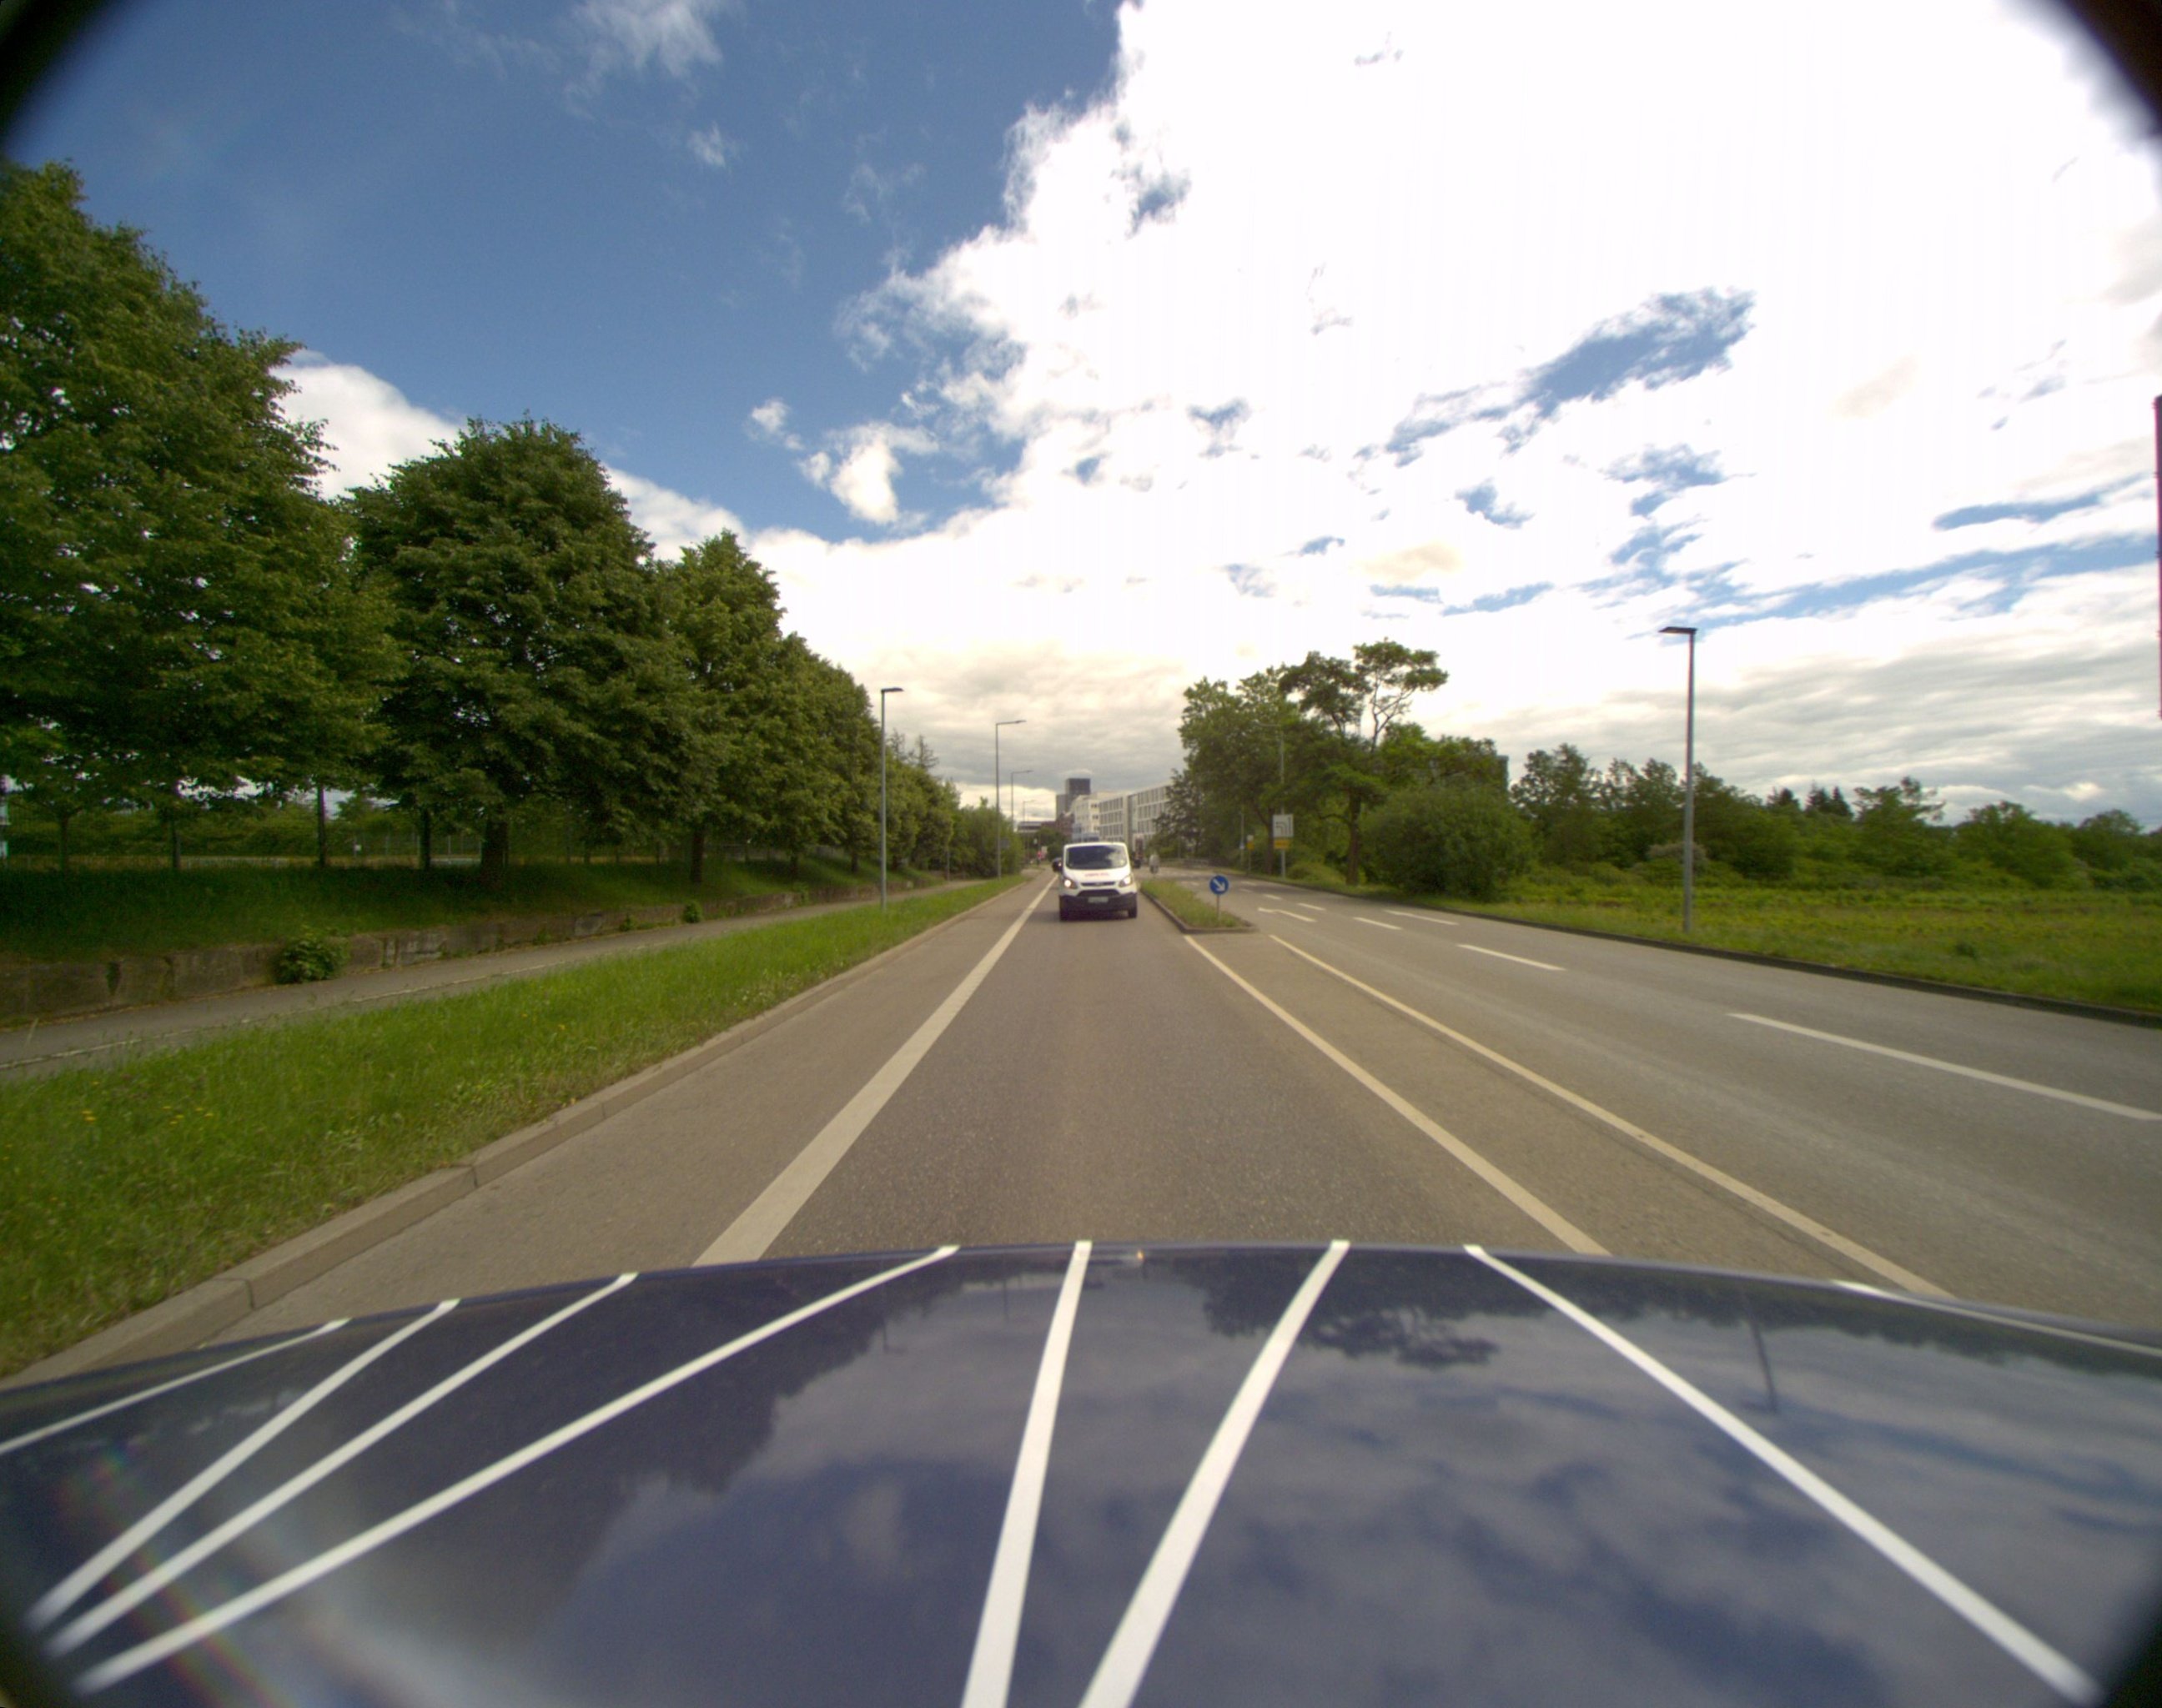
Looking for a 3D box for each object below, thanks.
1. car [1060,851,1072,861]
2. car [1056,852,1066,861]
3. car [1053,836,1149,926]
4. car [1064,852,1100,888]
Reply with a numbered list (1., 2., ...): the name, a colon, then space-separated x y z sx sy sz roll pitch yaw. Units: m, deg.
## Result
1. car: -2.805 0.352 141.486 1.873 1.685 4.369 -2 0 -4
2. car: -3.908 0.477 151.975 1.872 1.685 4.370 -2 0 -1
3. car: 0.407 0.594 20.332 2.122 1.963 6.205 -2 0 -1
4. car: 0.081 0.826 42.075 1.872 1.836 4.371 -2 0 1
